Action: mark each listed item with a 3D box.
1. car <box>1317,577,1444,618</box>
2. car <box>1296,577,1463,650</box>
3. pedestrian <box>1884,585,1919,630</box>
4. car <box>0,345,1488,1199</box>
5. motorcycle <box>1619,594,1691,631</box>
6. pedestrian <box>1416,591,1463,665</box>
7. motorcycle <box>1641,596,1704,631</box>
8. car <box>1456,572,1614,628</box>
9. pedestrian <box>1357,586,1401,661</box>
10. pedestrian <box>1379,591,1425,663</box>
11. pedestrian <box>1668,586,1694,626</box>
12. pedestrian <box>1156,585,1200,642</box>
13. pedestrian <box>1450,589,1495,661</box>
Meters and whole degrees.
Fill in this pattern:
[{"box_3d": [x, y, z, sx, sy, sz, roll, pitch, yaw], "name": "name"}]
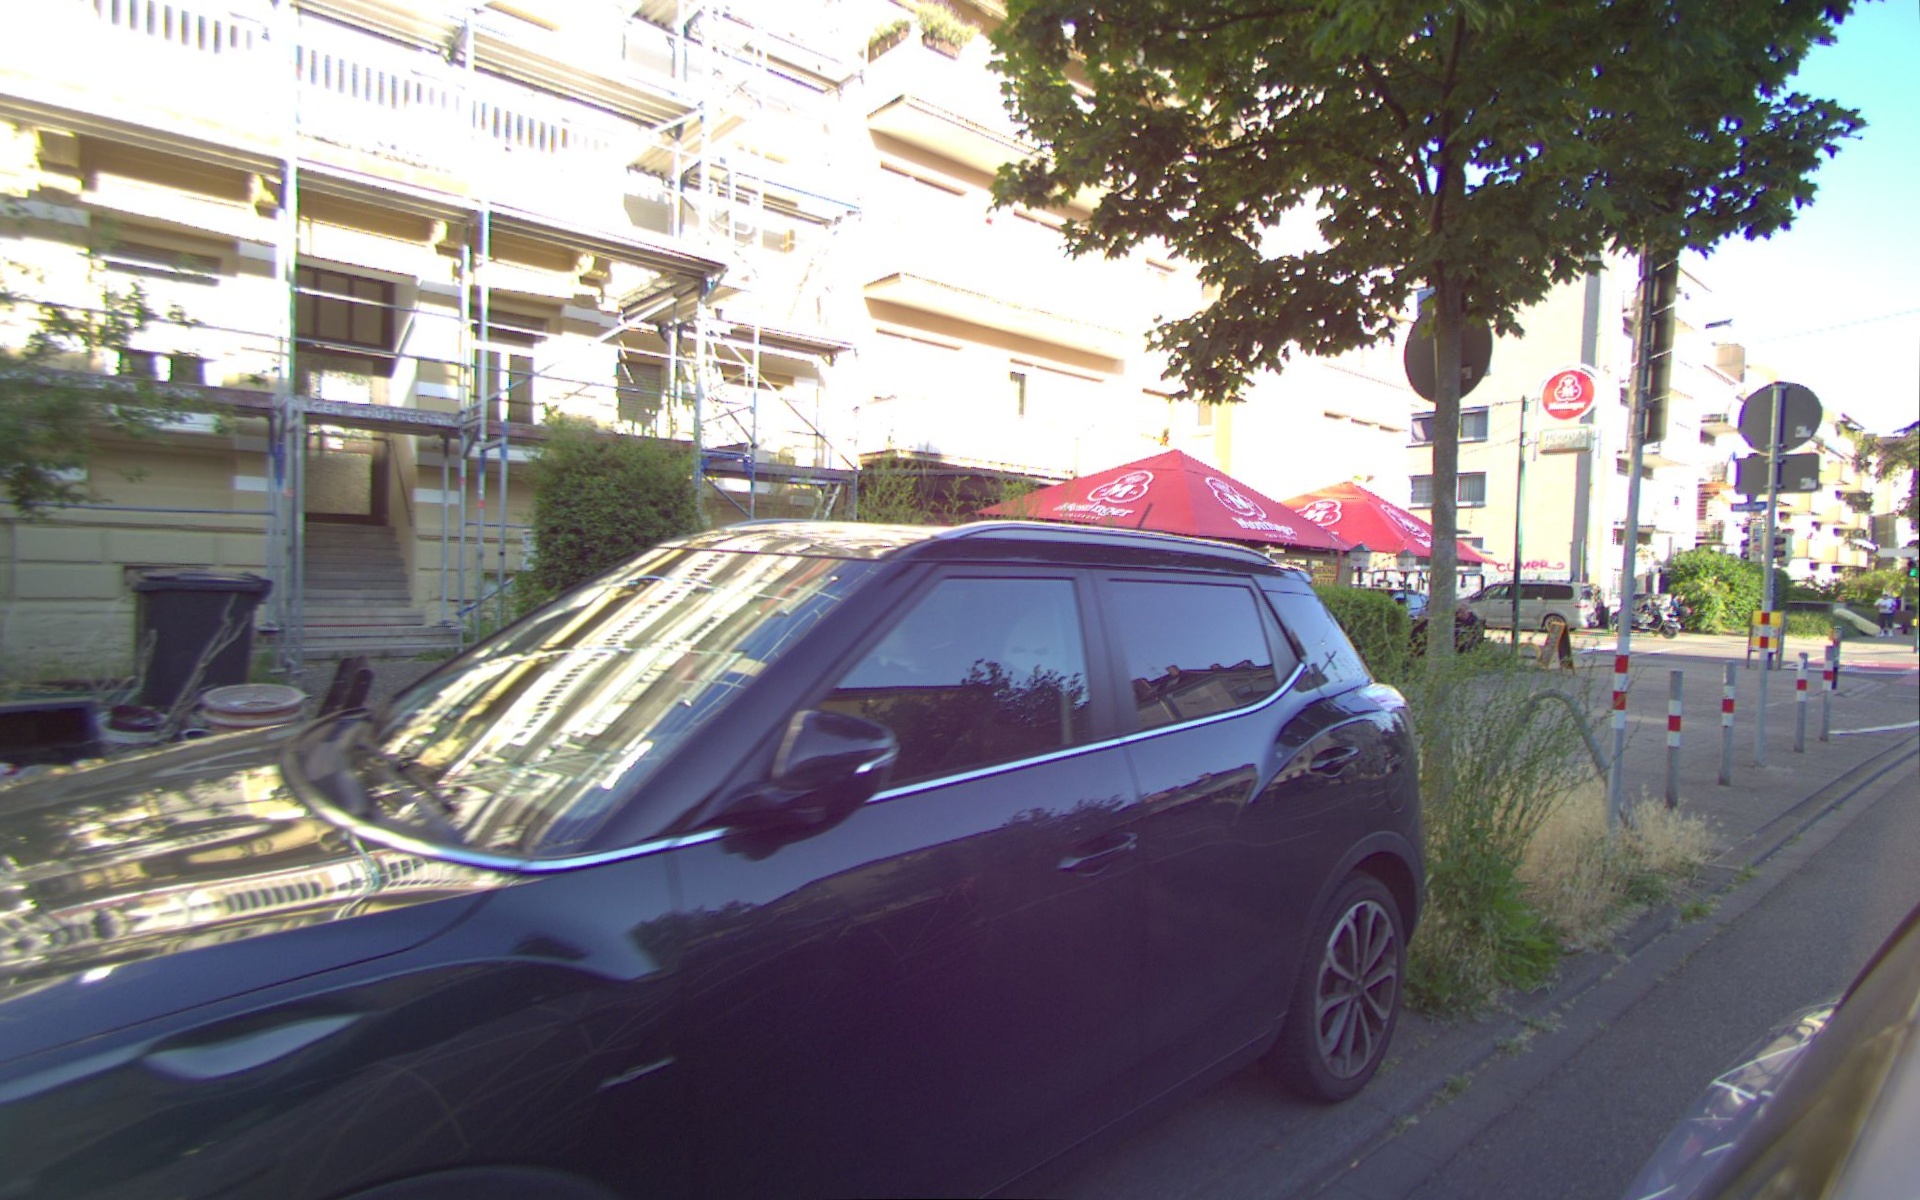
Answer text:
[{"box_3d": [17.790, -0.157, 42.970, 1.920, 1.560, 4.615, -2, 3, -42], "name": "car"}, {"box_3d": [9.618, 0.255, 23.085, 4.130, 1.502, 1.832, 0, 2, -40], "name": "car"}, {"box_3d": [36.756, 0.303, 39.515, 0.648, 1.703, 0.831, 0, 2, -36], "name": "pedestrian"}, {"box_3d": [-0.425, 0.529, 2.597, 3.959, 1.651, 1.796, 0, 4, -41], "name": "car"}, {"box_3d": [23.914, 0.414, 34.843, 1.981, 1.215, 0.764, 2, 1, 38], "name": "motorcycle"}, {"box_3d": [7.771, 0.447, 16.409, 0.516, 1.164, 0.495, 0, 1, -36], "name": "pedestrian"}, {"box_3d": [24.858, 0.459, 35.346, 0.584, 1.125, 1.698, 0, 1, -39], "name": "motorcycle"}, {"box_3d": [21.624, -0.081, 38.247, 1.920, 1.888, 4.836, -2, 3, -42], "name": "car"}, {"box_3d": [7.483, 0.404, 18.081, 0.530, 1.299, 0.525, 0, 1, -38], "name": "pedestrian"}, {"box_3d": [7.293, 0.431, 16.704, 0.516, 1.164, 0.487, 0, 1, -36], "name": "pedestrian"}, {"box_3d": [26.030, 0.212, 36.528, 0.584, 1.409, 0.641, 0, 1, -41], "name": "pedestrian"}, {"box_3d": [4.648, 0.275, 21.583, 0.707, 1.164, 0.610, 0, 1, -38], "name": "pedestrian"}, {"box_3d": [8.563, 0.401, 16.906, 0.620, 1.164, 0.413, 0, 1, -36], "name": "pedestrian"}]
